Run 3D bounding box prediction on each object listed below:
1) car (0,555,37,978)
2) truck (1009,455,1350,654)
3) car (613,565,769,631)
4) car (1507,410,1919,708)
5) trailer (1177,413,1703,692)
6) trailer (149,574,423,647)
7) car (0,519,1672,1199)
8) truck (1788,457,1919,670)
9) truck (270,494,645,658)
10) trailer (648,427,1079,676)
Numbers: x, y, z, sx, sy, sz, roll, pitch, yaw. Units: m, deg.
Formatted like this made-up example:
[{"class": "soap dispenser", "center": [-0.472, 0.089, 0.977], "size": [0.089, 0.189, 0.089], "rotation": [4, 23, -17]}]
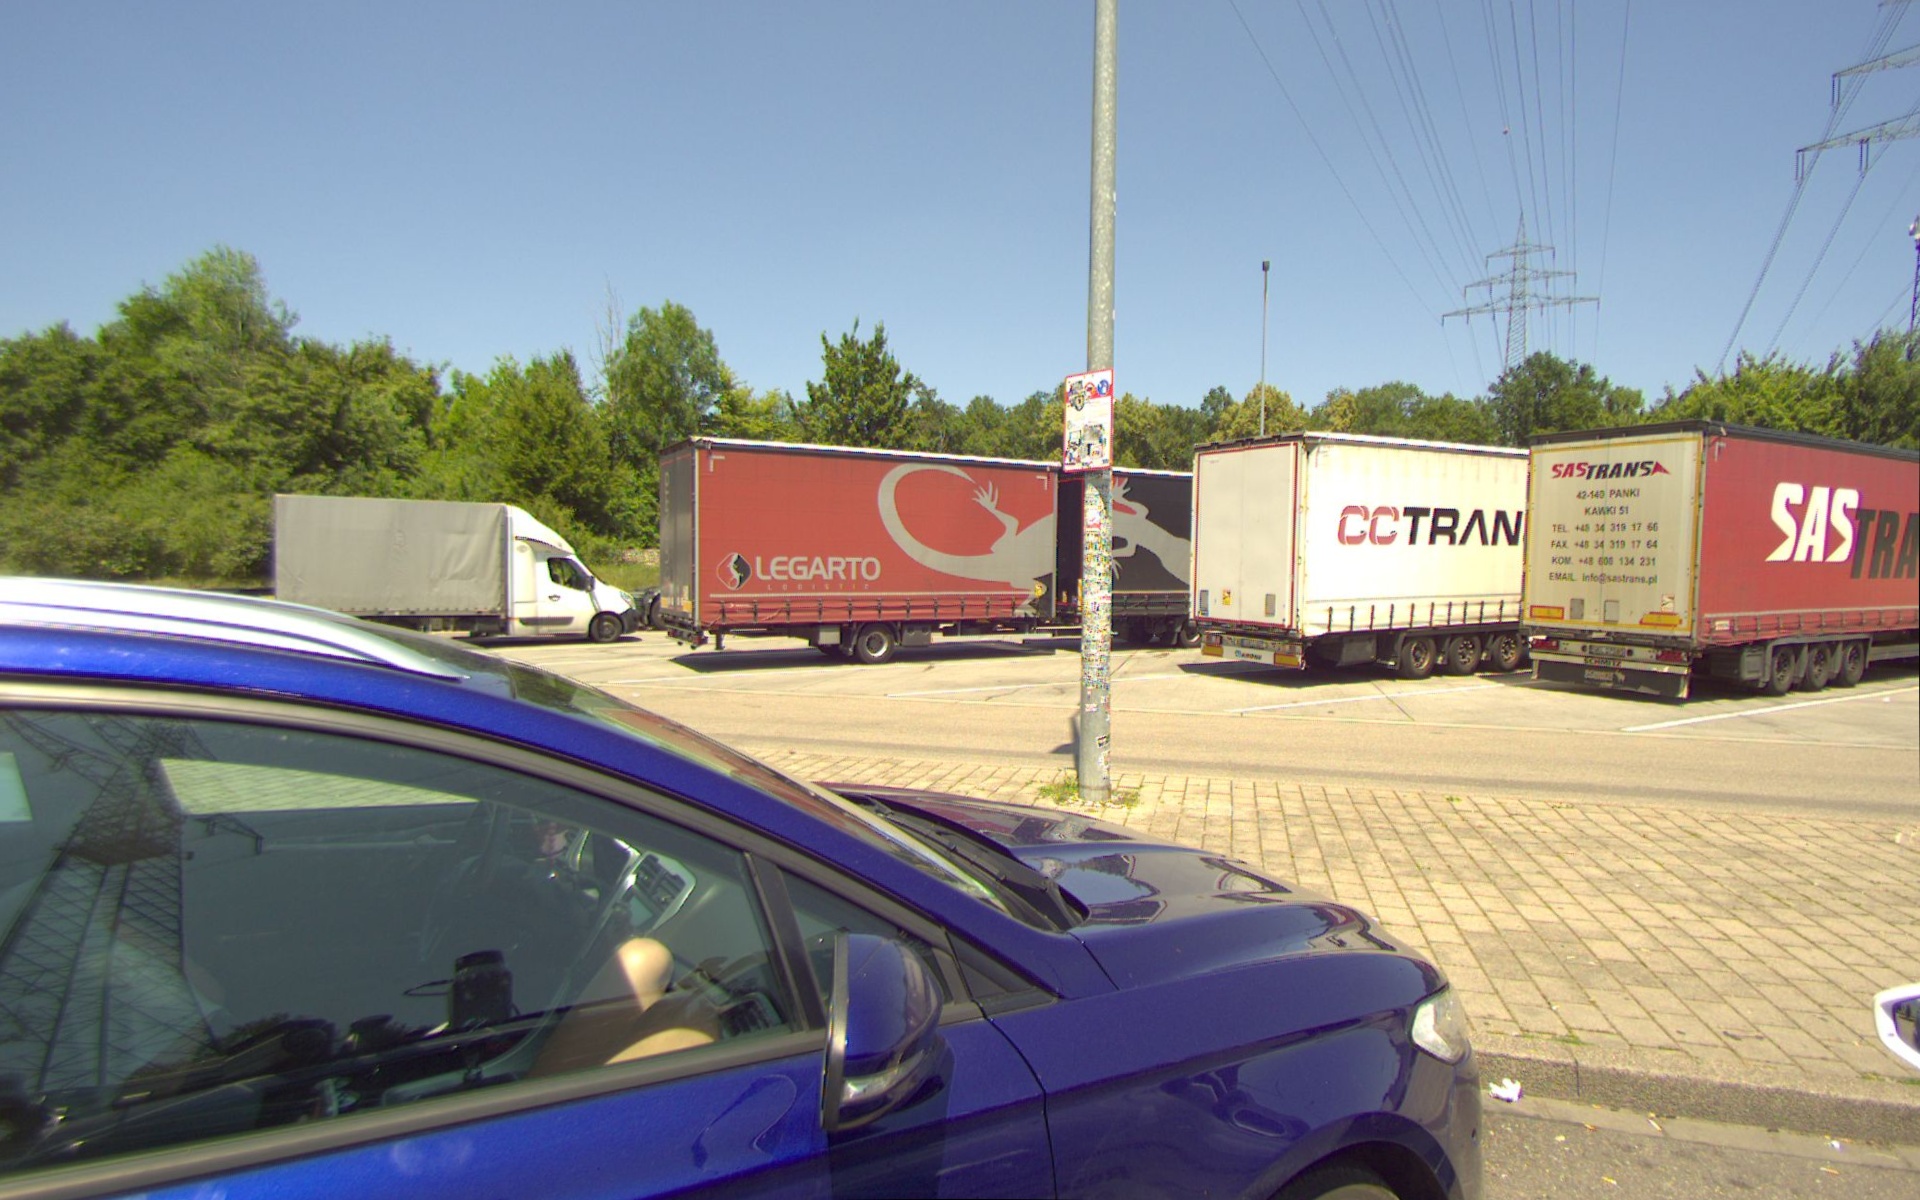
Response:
[{"class": "car", "center": [-4.634, 0.559, 2.111], "size": [3.700, 1.432, 1.595], "rotation": [0, 0, -32]}, {"class": "truck", "center": [5.582, -1.081, 24.822], "size": [8.683, 4.248, 2.800], "rotation": [-1, 2, -30]}, {"class": "car", "center": [-7.625, -0.050, 28.511], "size": [3.953, 1.773, 1.902], "rotation": [0, 0, -30]}, {"class": "car", "center": [15.195, -0.694, 18.447], "size": [12.777, 4.169, 2.683], "rotation": [-1, 3, -30]}, {"class": "trailer", "center": [10.090, -0.883, 20.061], "size": [12.786, 4.325, 2.800], "rotation": [-1, 2, -31]}, {"class": "trailer", "center": [-15.970, 0.239, 24.176], "size": [5.332, 1.617, 1.585], "rotation": [0, 0, -30]}, {"class": "car", "center": [-1.008, 0.673, 1.460], "size": [4.380, 1.464, 1.771], "rotation": [0, 0, -32]}, {"class": "truck", "center": [21.121, -0.775, 21.858], "size": [6.163, 4.169, 2.683], "rotation": [-1, 3, -30]}, {"class": "truck", "center": [-11.136, -0.587, 22.869], "size": [7.219, 3.277, 2.308], "rotation": [-2, 3, -29]}, {"class": "trailer", "center": [-1.765, -0.931, 20.499], "size": [8.389, 4.248, 2.800], "rotation": [-1, 2, -30]}]
